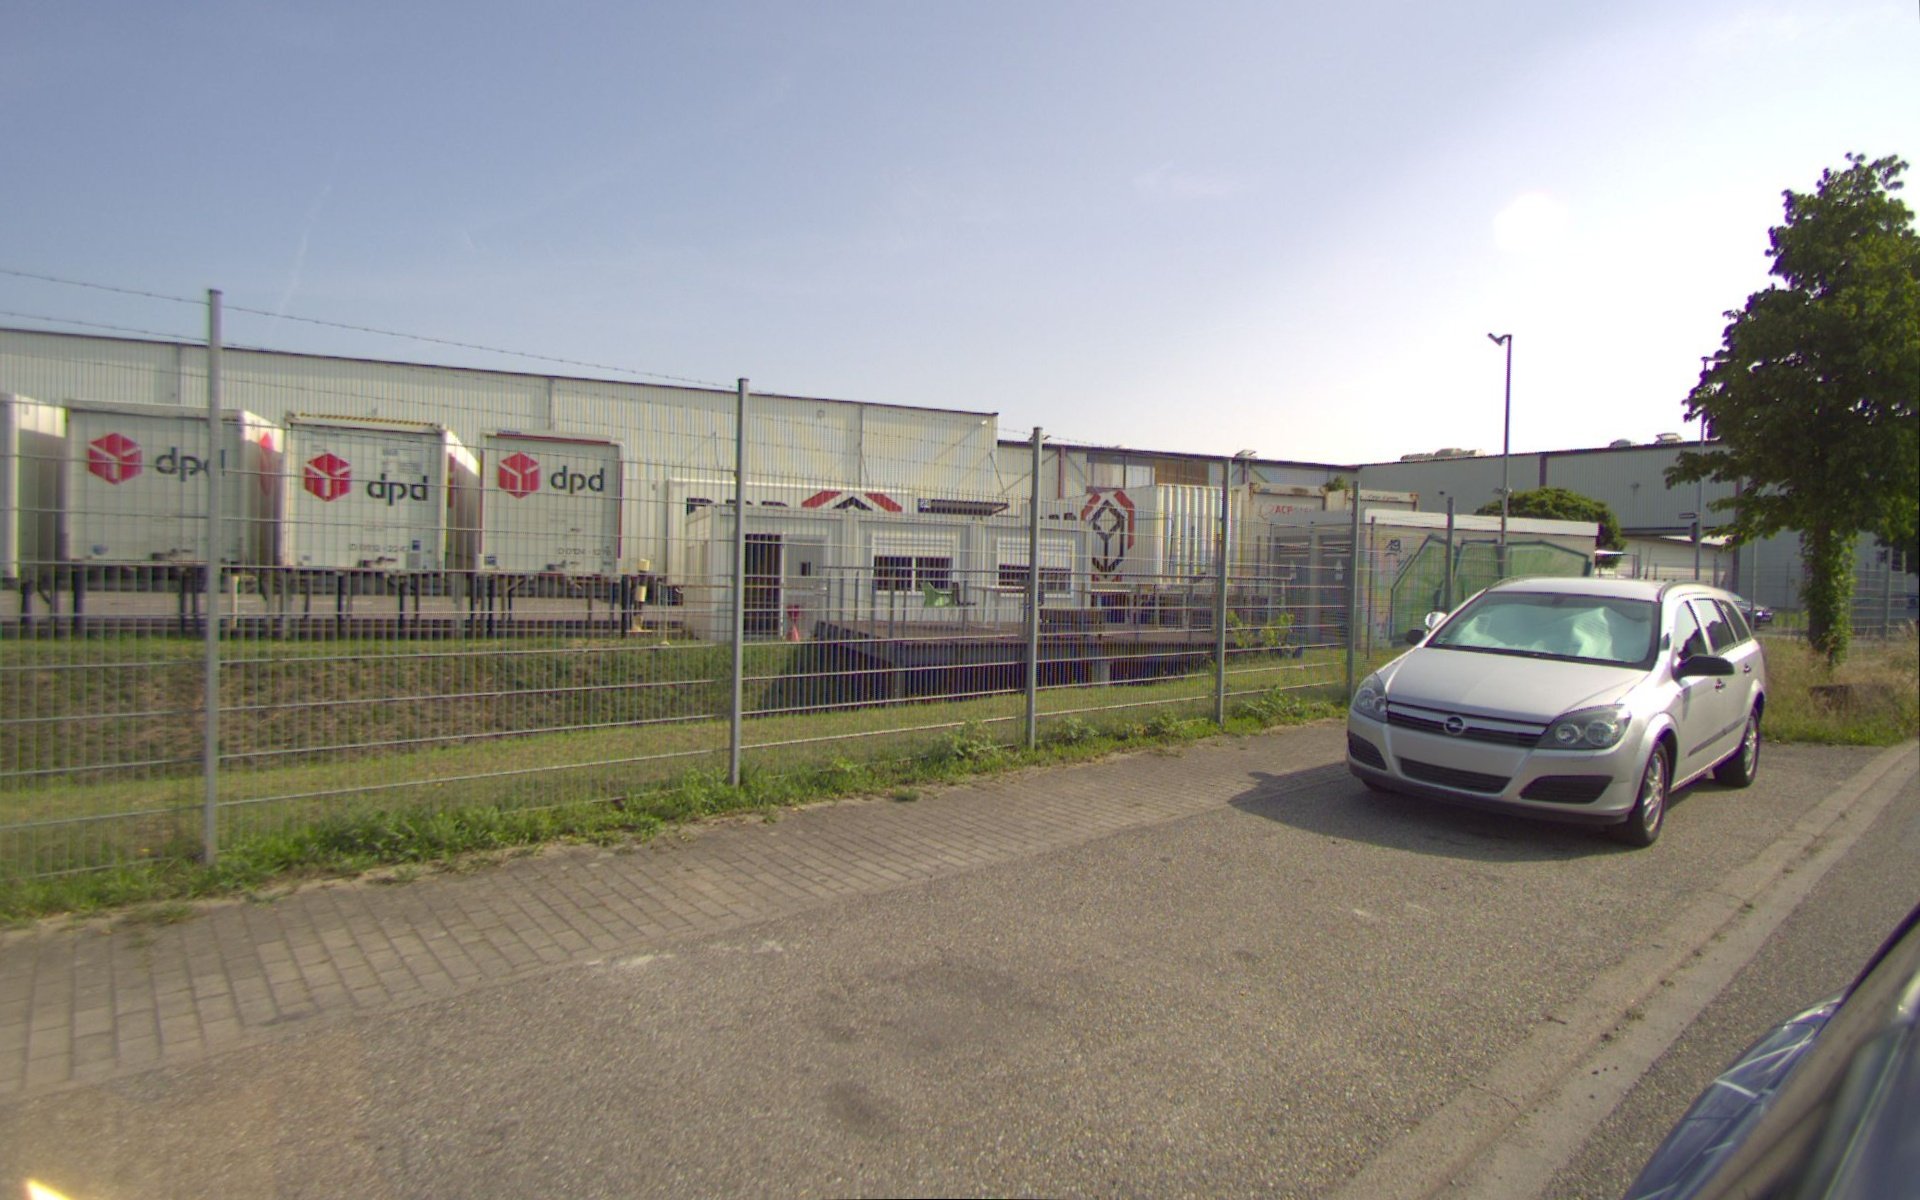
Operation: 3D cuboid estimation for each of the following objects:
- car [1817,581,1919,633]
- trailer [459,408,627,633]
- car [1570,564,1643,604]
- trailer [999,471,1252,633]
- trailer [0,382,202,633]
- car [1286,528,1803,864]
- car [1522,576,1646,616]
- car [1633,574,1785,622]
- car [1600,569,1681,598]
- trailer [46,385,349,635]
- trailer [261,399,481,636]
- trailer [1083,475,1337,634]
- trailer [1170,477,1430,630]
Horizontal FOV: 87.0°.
[{"bbox_3d":[30.246,0.201,32.375,1.693,1.542,3.967,-2,2,-27],"label":"car"},{"bbox_3d":[-9.126,-1.383,22.334,2.717,3.943,8.580,2,-1,-22],"label":"trailer"},{"bbox_3d":[43.157,-1.083,67.503,6.581,2.548,2.173,-1,2,-40],"label":"car"},{"bbox_3d":[4.196,-1.206,28.374,2.732,3.808,8.778,0,1,-23],"label":"trailer"},{"bbox_3d":[-17.554,-1.483,19.380,2.717,3.943,8.350,2,-1,-22],"label":"trailer"},{"bbox_3d":[4.312,0.432,7.130,4.372,1.645,1.802,0,3,-42],"label":"car"},{"bbox_3d":[26.559,-0.209,43.253,1.692,1.536,4.503,-2,2,-18],"label":"car"},{"bbox_3d":[28.001,-0.073,38.005,1.838,1.646,4.277,2,-1,-20],"label":"car"},{"bbox_3d":[53.323,-1.316,79.399,1.895,2.110,4.849,0,3,-36],"label":"car"},{"bbox_3d":[-14.768,-1.422,20.489,2.717,3.943,8.350,2,-1,-22],"label":"trailer"},{"bbox_3d":[-11.976,-1.372,21.422,2.717,3.943,8.580,2,-1,-22],"label":"trailer"},{"bbox_3d":[6.857,-1.298,29.569,2.717,3.941,8.585,1,2,-20],"label":"trailer"},{"bbox_3d":[9.815,-1.349,30.595,2.718,3.941,8.584,-1,2,-20],"label":"trailer"}]
